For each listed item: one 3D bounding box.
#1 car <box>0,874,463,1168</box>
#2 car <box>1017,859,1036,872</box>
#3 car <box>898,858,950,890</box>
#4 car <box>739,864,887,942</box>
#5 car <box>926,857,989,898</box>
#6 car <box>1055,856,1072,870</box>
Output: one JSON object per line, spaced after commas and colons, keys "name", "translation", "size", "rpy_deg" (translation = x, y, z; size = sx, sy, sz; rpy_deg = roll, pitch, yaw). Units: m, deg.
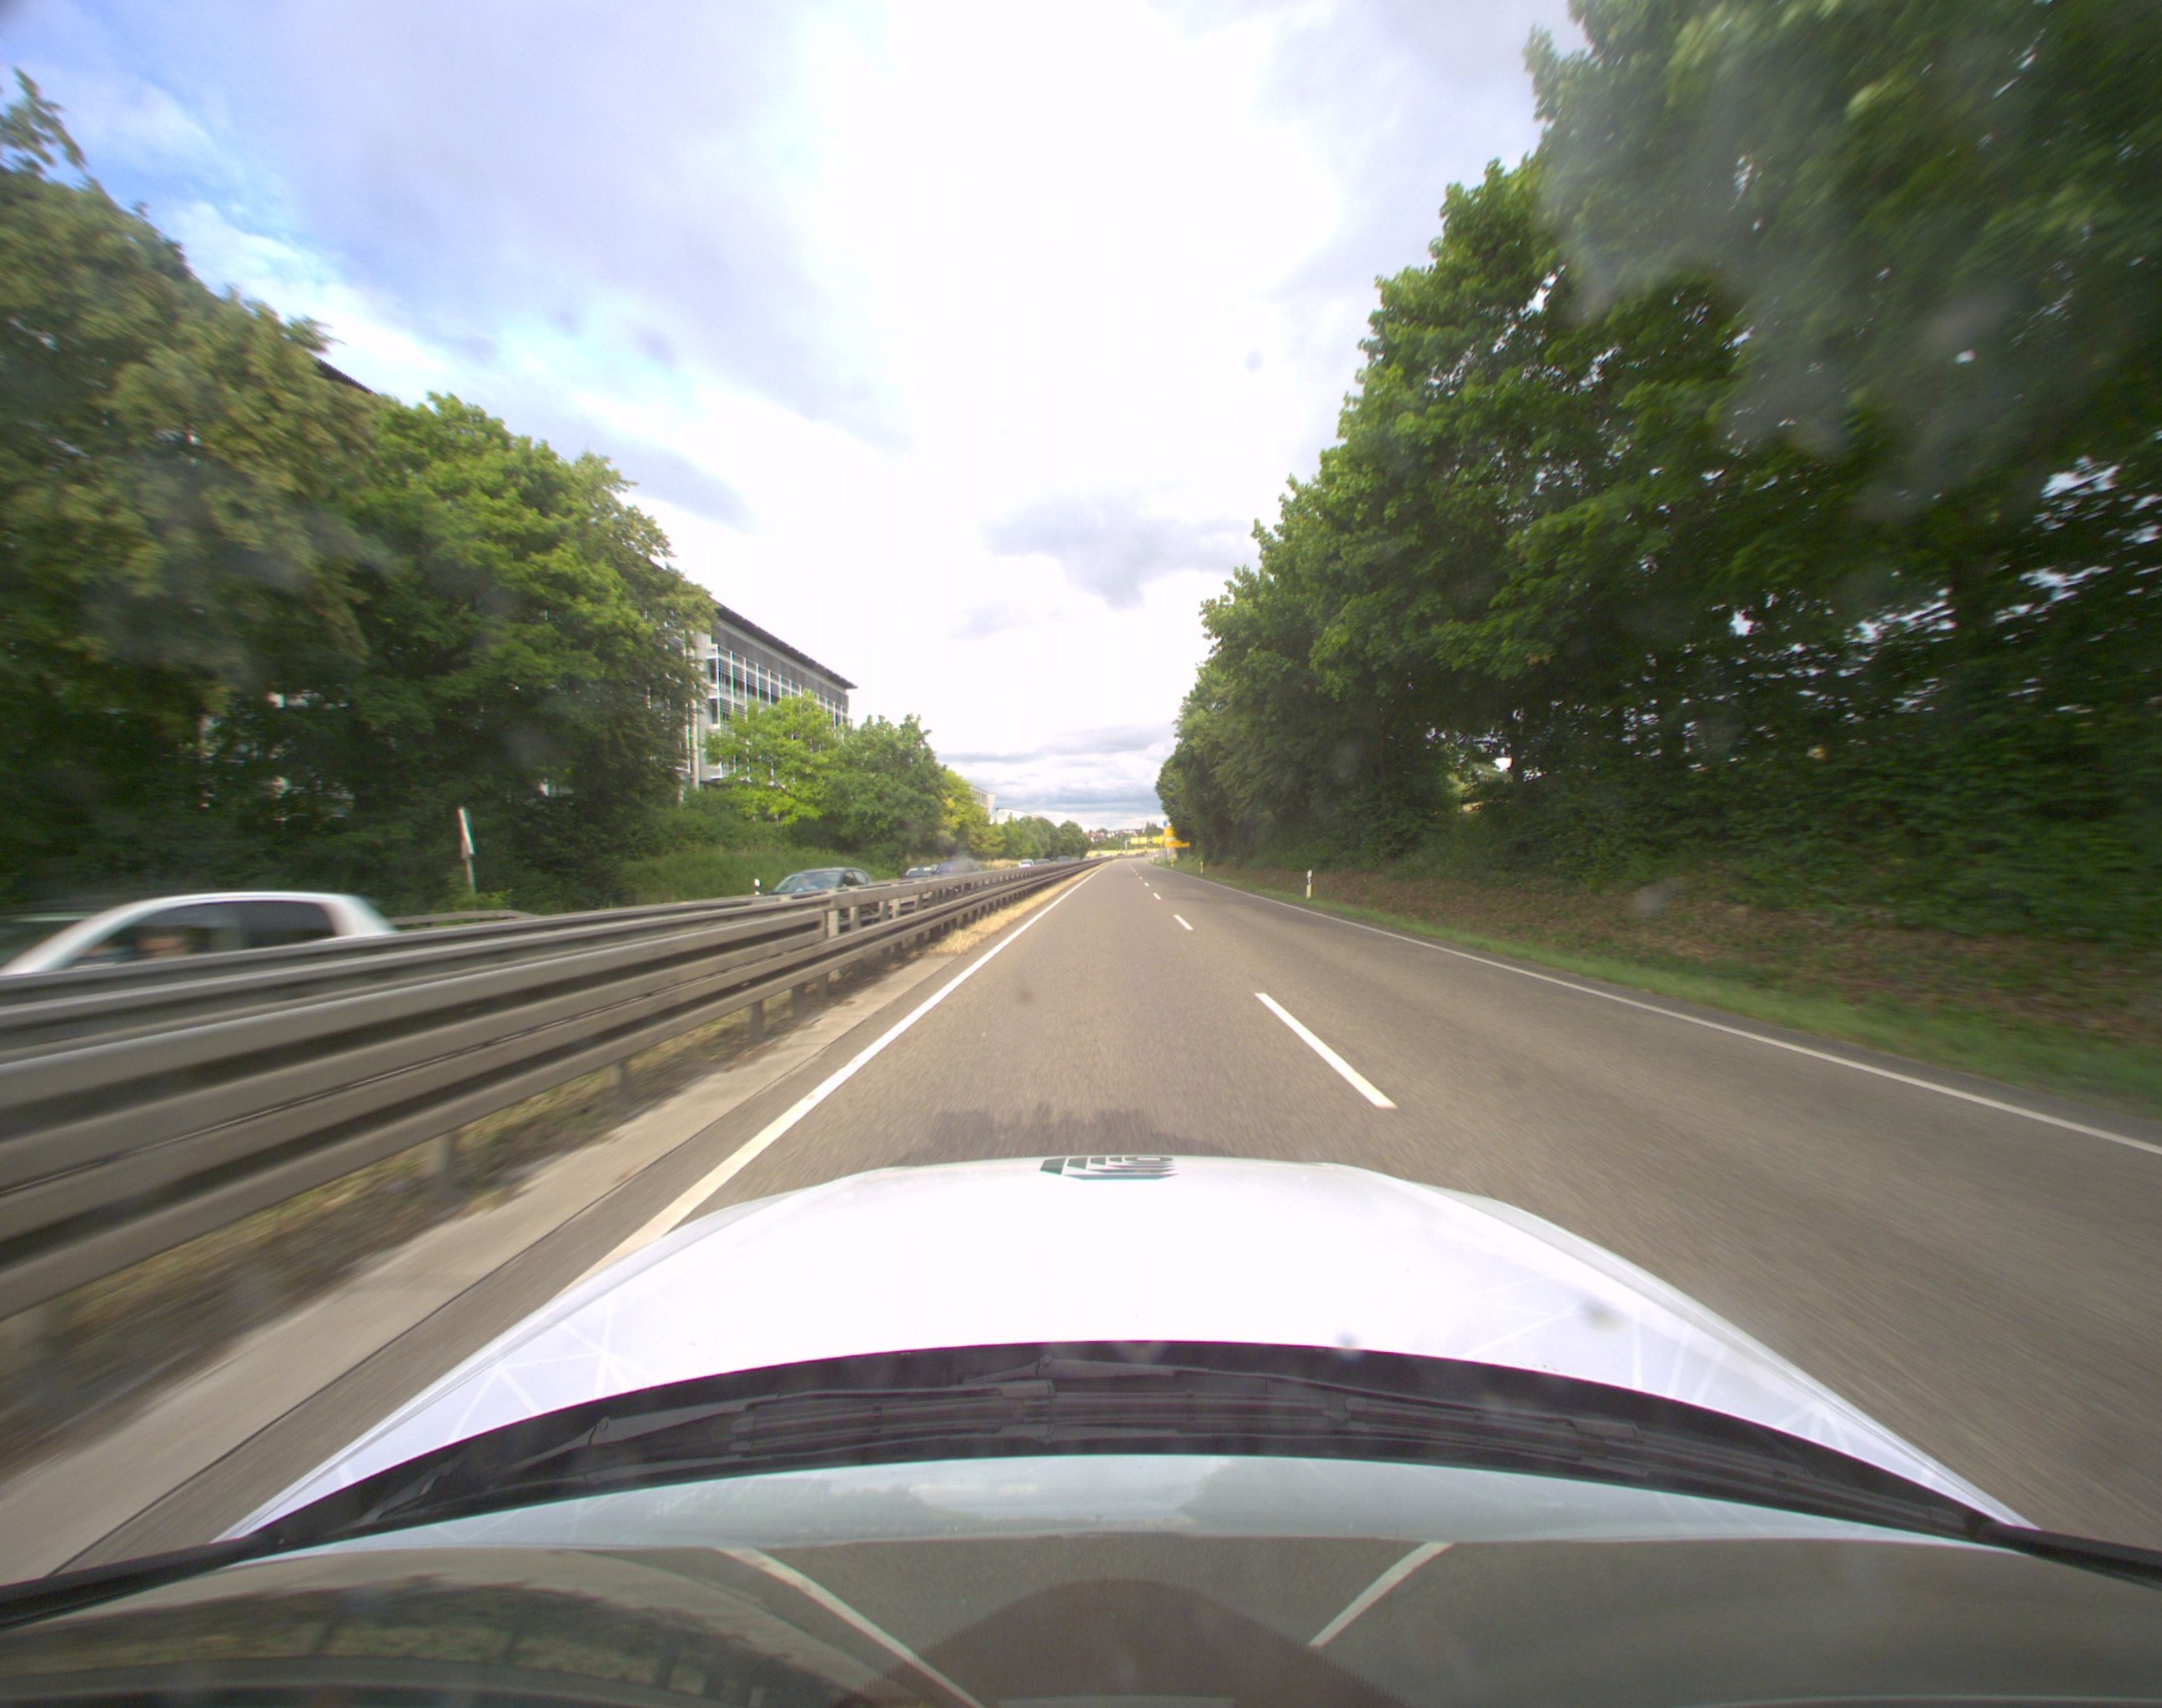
{"name": "car", "translation": [-6.540, 0.946, 5.596], "size": [1.675, 1.486, 3.648], "rpy_deg": [-2, 0, 2]}
{"name": "car", "translation": [-6.316, 1.343, 94.919], "size": [1.810, 1.485, 4.419], "rpy_deg": [0, 0, 2]}
{"name": "car", "translation": [-8.255, 1.028, 43.114], "size": [1.736, 1.589, 4.313], "rpy_deg": [0, 0, 2]}
{"name": "car", "translation": [-5.424, 0.931, 16.997], "size": [1.669, 1.352, 3.833], "rpy_deg": [-2, 0, 2]}
{"name": "car", "translation": [-5.231, 0.966, 35.012], "size": [1.813, 1.584, 4.319], "rpy_deg": [-2, 0, 3]}
{"name": "car", "translation": [-2.148, 1.140, 101.920], "size": [1.736, 1.645, 5.283], "rpy_deg": [-2, 0, 3]}
